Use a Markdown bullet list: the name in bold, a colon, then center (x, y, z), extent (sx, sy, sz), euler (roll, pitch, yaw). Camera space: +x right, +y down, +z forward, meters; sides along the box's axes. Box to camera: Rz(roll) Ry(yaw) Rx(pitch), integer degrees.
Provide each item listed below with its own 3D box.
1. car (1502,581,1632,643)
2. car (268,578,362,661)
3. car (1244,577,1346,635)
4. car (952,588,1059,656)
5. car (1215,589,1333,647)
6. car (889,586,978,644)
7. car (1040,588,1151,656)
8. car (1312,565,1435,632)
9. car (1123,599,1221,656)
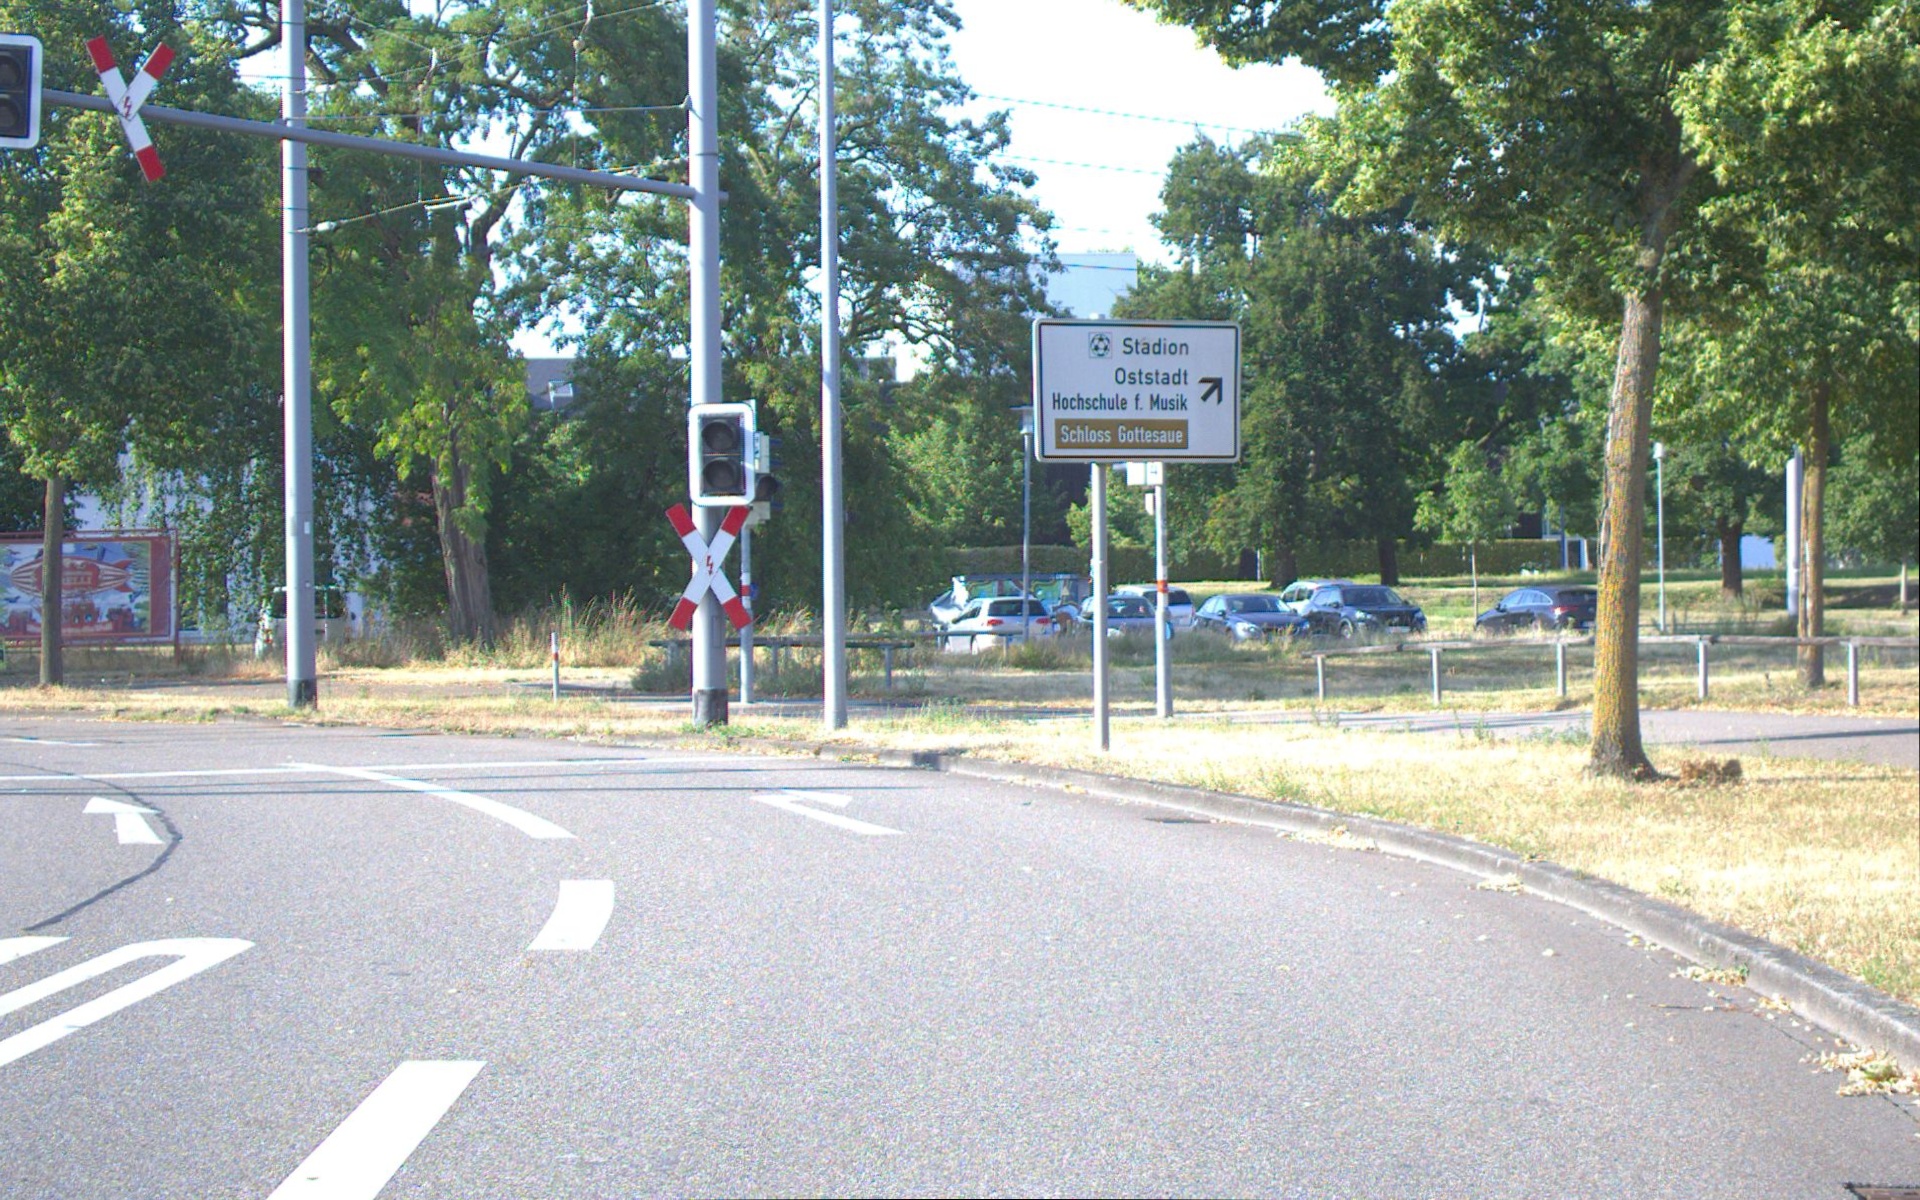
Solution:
- **car**: center (13.459, 0.272, 76.408), extent (1.601, 1.305, 3.969), euler (-1, 0, -9)
- **car**: center (-13.128, 0.400, 70.146), extent (1.771, 1.612, 3.969), euler (-1, 0, -9)
- **car**: center (8.496, 0.162, 87.495), extent (1.601, 1.397, 3.969), euler (-1, 0, -9)
- **car**: center (0.952, 0.472, 74.120), extent (1.601, 1.397, 3.969), euler (-1, 0, -9)
- **car**: center (6.861, 0.394, 75.361), extent (1.601, 1.216, 3.969), euler (-1, 0, -9)
- **car**: center (-0.687, 0.374, 86.025), extent (1.601, 1.397, 3.969), euler (-1, 0, -9)
- **car**: center (2.915, 0.470, 74.661), extent (1.601, 1.397, 3.969), euler (-1, 0, -9)
- **car**: center (9.053, -0.025, 75.549), extent (1.601, 1.397, 3.969), euler (-1, 0, -9)
- **car**: center (5.342, 0.686, 86.946), extent (1.601, 1.397, 3.969), euler (-1, 0, -9)
